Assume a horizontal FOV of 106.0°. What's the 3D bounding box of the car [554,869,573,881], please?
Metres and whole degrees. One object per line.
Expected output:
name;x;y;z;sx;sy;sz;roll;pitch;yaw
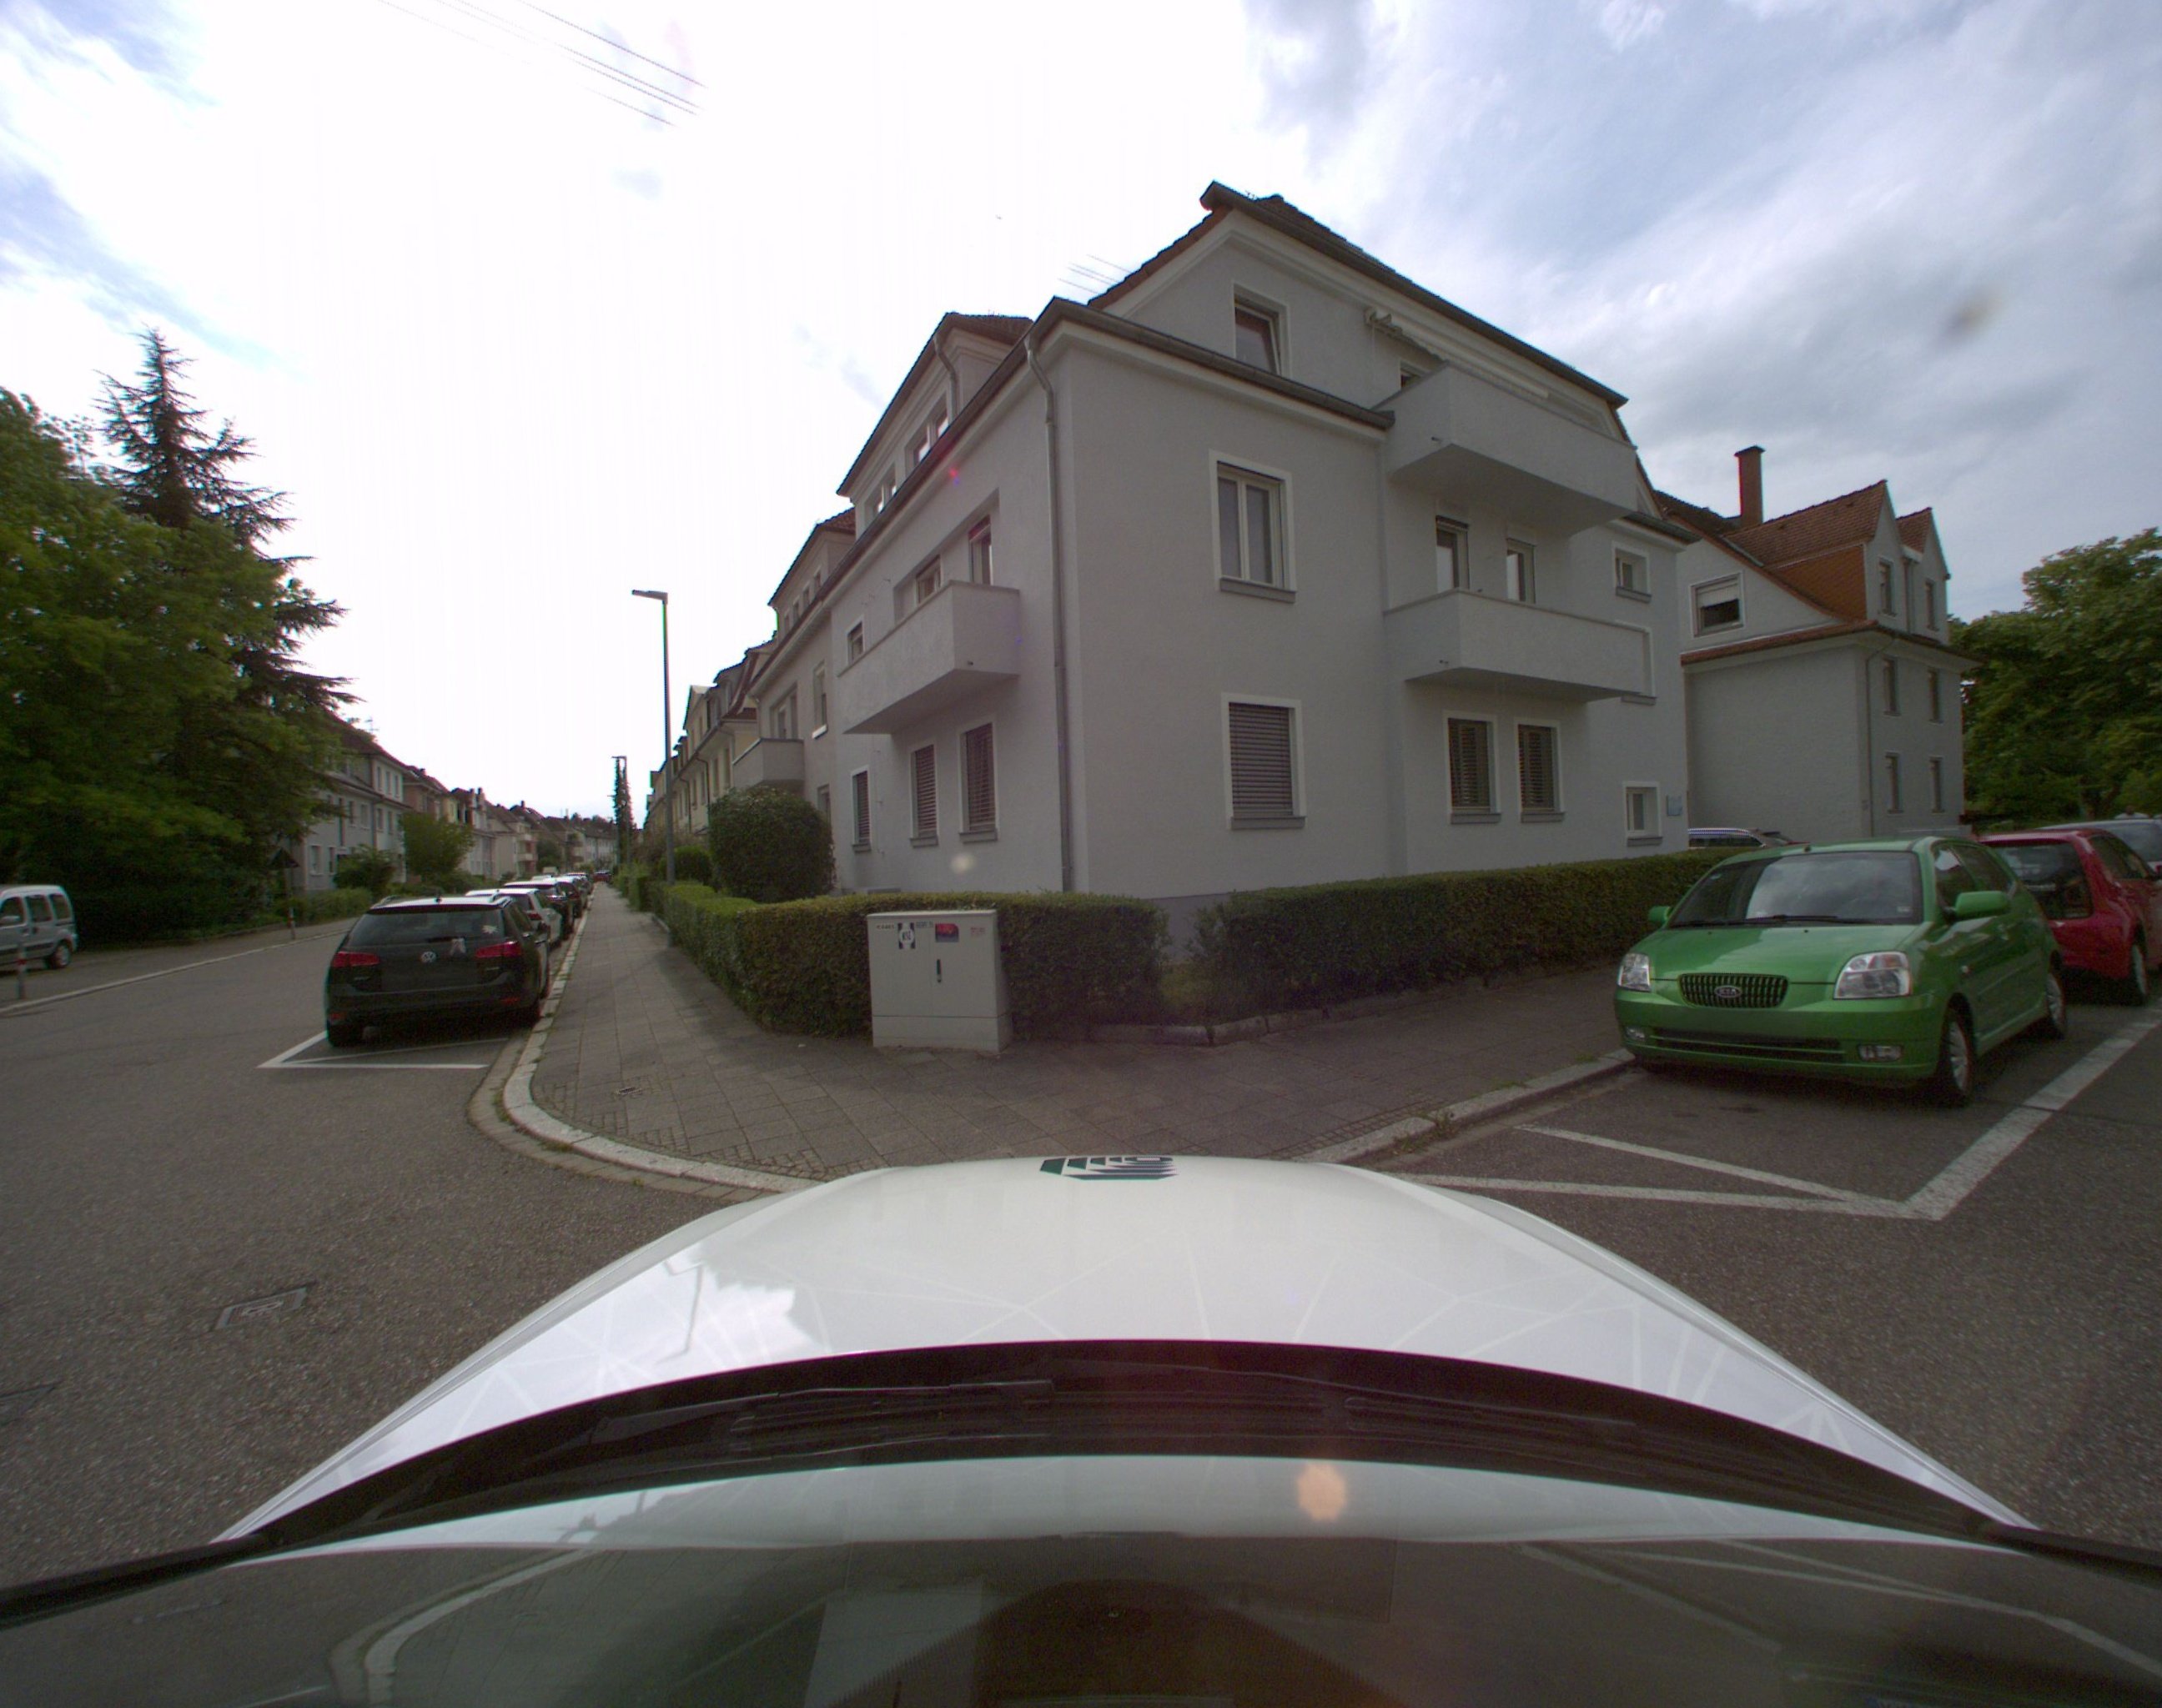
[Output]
car;-77.886;3.103;122.611;2.005;1.640;3.964;-2;0;-27

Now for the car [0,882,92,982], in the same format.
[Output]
car;-21.684;1.534;15.663;2.006;1.838;3.962;-2;0;-29

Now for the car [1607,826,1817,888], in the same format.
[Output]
car;16.699;0.087;21.749;2.006;1.464;3.961;-2;0;-30

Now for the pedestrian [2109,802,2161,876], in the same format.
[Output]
pedestrian;27.742;-0.401;21.309;1.082;1.878;0.875;-2;0;-31

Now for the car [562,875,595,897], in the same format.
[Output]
car;-37.935;2.368;61.532;1.865;1.471;4.135;-2;0;-29

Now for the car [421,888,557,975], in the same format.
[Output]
car;-12.633;1.551;17.651;1.865;1.471;4.135;-2;0;-29

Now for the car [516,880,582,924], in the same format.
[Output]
car;-20.834;1.837;32.043;1.865;1.471;4.135;-2;0;-29

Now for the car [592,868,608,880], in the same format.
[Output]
car;-71.258;2.968;120.710;1.865;1.578;4.135;-2;0;-29

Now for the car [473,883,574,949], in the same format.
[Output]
car;-15.004;1.588;22.124;1.865;1.471;4.135;-2;0;-29

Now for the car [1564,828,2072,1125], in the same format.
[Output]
car;5.187;0.631;5.665;3.494;1.422;1.634;-2;-3;-32

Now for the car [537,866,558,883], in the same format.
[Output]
car;-70.932;2.714;108.317;2.005;2.013;3.963;-2;0;-28

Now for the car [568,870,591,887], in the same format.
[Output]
car;-50.628;2.469;82.237;1.866;1.578;4.134;-2;0;-31

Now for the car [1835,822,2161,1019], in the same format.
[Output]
car;9.105;0.533;7.926;3.494;1.496;1.634;-2;-3;-32

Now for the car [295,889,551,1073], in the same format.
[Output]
car;-7.352;1.227;9.490;1.867;1.471;4.131;-2;0;-34

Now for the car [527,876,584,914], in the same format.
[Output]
car;-23.523;1.797;36.561;1.865;1.471;4.135;-2;0;-29

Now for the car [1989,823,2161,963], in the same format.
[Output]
car;12.867;0.396;9.991;3.494;1.496;1.634;-2;-3;-32

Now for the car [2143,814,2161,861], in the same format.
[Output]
car;36.260;-0.616;26.645;3.498;1.496;1.632;-2;-4;-39

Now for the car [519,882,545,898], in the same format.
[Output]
car;-65.320;4.255;96.972;2.005;1.640;3.964;-2;0;-27
